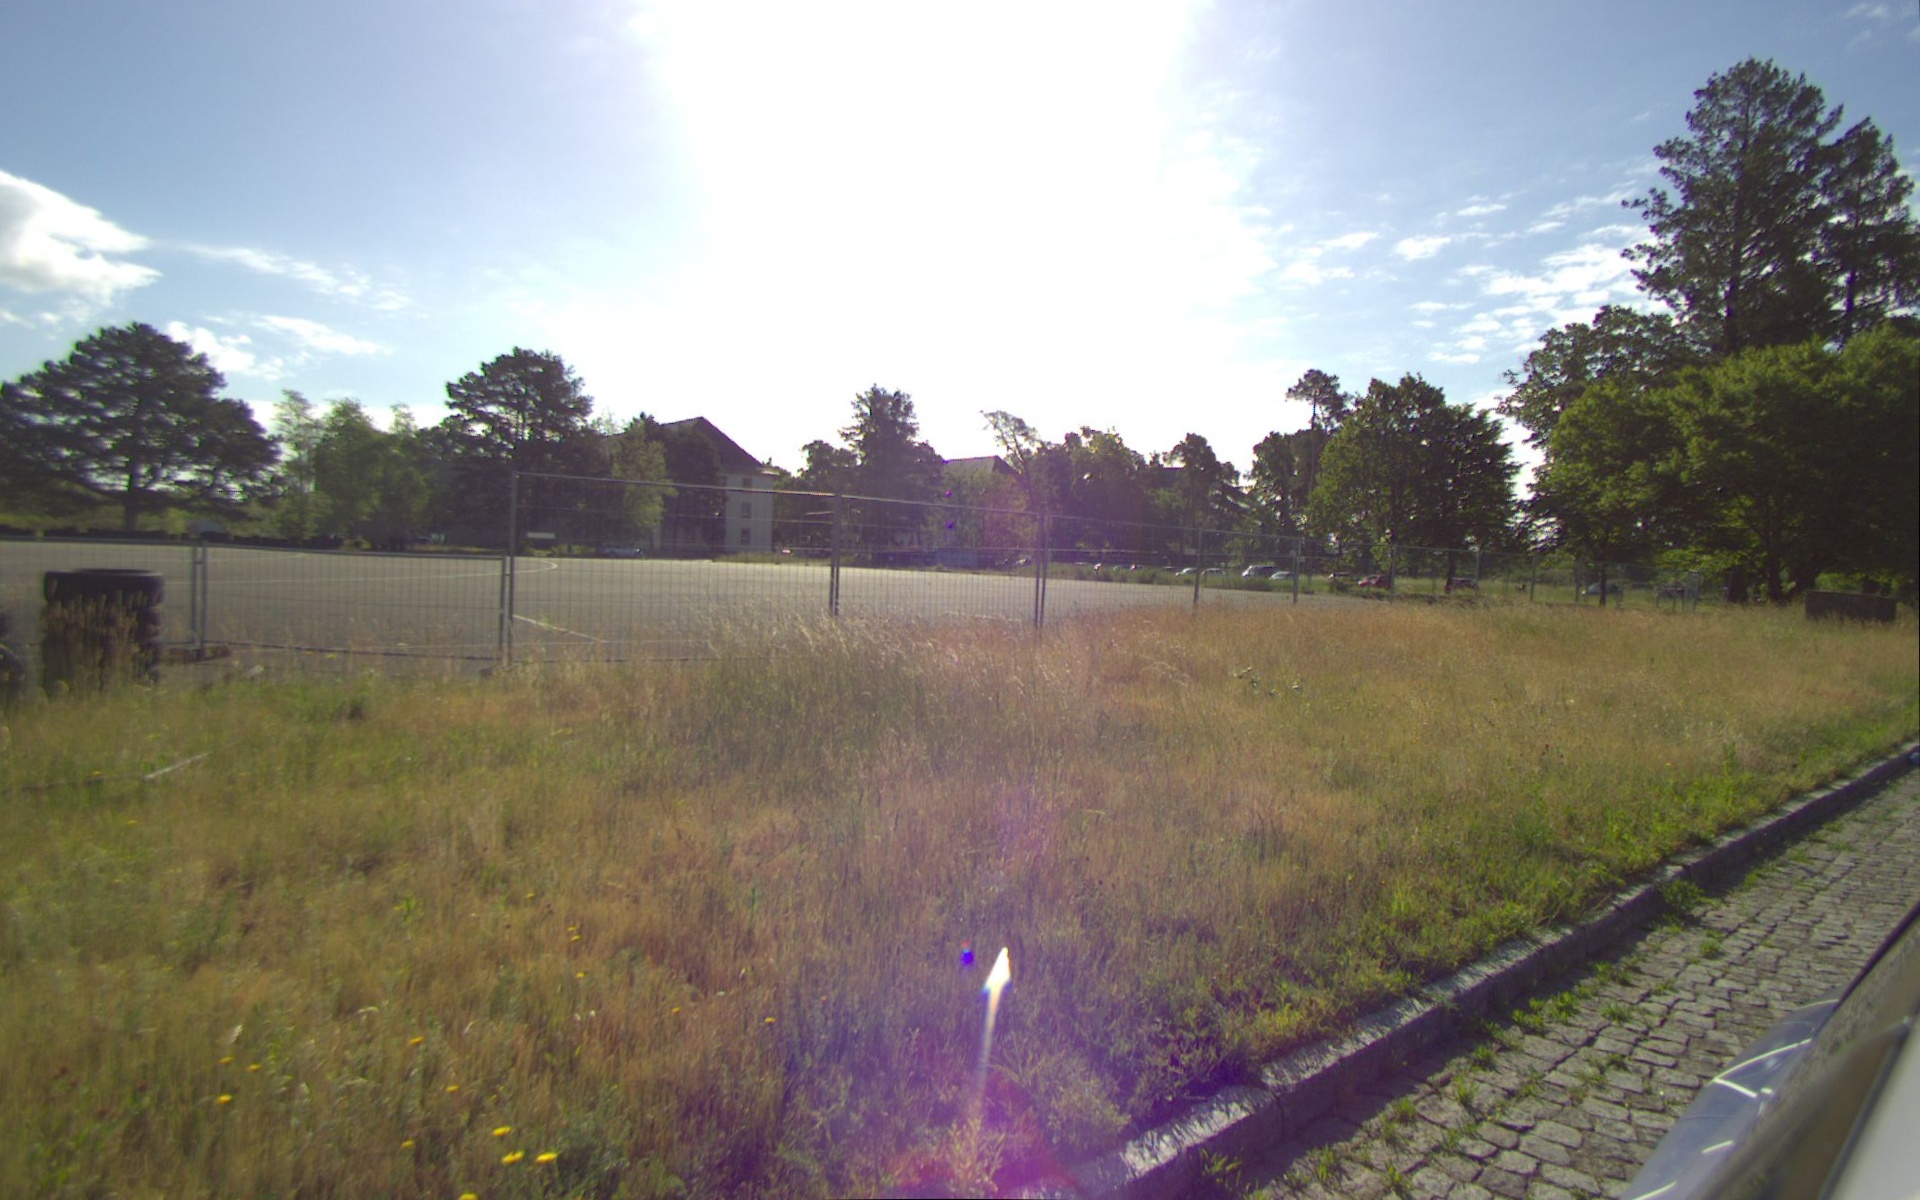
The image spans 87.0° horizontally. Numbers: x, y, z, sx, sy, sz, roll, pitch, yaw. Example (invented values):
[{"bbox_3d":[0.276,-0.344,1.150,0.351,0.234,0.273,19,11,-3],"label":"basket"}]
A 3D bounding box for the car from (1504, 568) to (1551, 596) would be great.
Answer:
[{"bbox_3d":[44.138,-1.401,78.707,3.931,2.038,1.997,0,3,-42],"label":"car"}]

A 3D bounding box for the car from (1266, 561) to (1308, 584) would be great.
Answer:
[{"bbox_3d":[30.767,-2.585,95.123,3.931,1.971,1.997,0,3,-42],"label":"car"}]

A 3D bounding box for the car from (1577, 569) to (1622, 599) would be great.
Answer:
[{"bbox_3d":[46.918,-1.170,74.250,1.994,2.038,3.937,4,3,44],"label":"car"}]

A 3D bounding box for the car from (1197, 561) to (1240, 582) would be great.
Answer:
[{"bbox_3d":[25.824,-2.847,101.144,3.922,2.039,2.001,0,0,-33],"label":"car"}]

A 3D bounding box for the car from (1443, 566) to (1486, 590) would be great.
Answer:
[{"bbox_3d":[40.950,-1.745,82.079,1.994,1.838,3.937,4,3,44],"label":"car"}]

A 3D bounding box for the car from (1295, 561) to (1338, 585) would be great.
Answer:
[{"bbox_3d":[33.133,-2.498,93.967,3.929,2.038,1.999,0,3,-40],"label":"car"}]

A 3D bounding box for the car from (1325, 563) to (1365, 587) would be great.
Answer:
[{"bbox_3d":[34.254,-2.251,90.052,1.993,2.038,3.939,4,3,42],"label":"car"}]

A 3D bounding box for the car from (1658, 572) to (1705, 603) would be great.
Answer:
[{"bbox_3d":[49.978,-0.859,70.069,1.994,2.038,3.937,4,3,44],"label":"car"}]

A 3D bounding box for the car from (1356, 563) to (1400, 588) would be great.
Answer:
[{"bbox_3d":[36.342,-2.108,87.950,3.930,2.038,1.998,0,3,-41],"label":"car"}]
